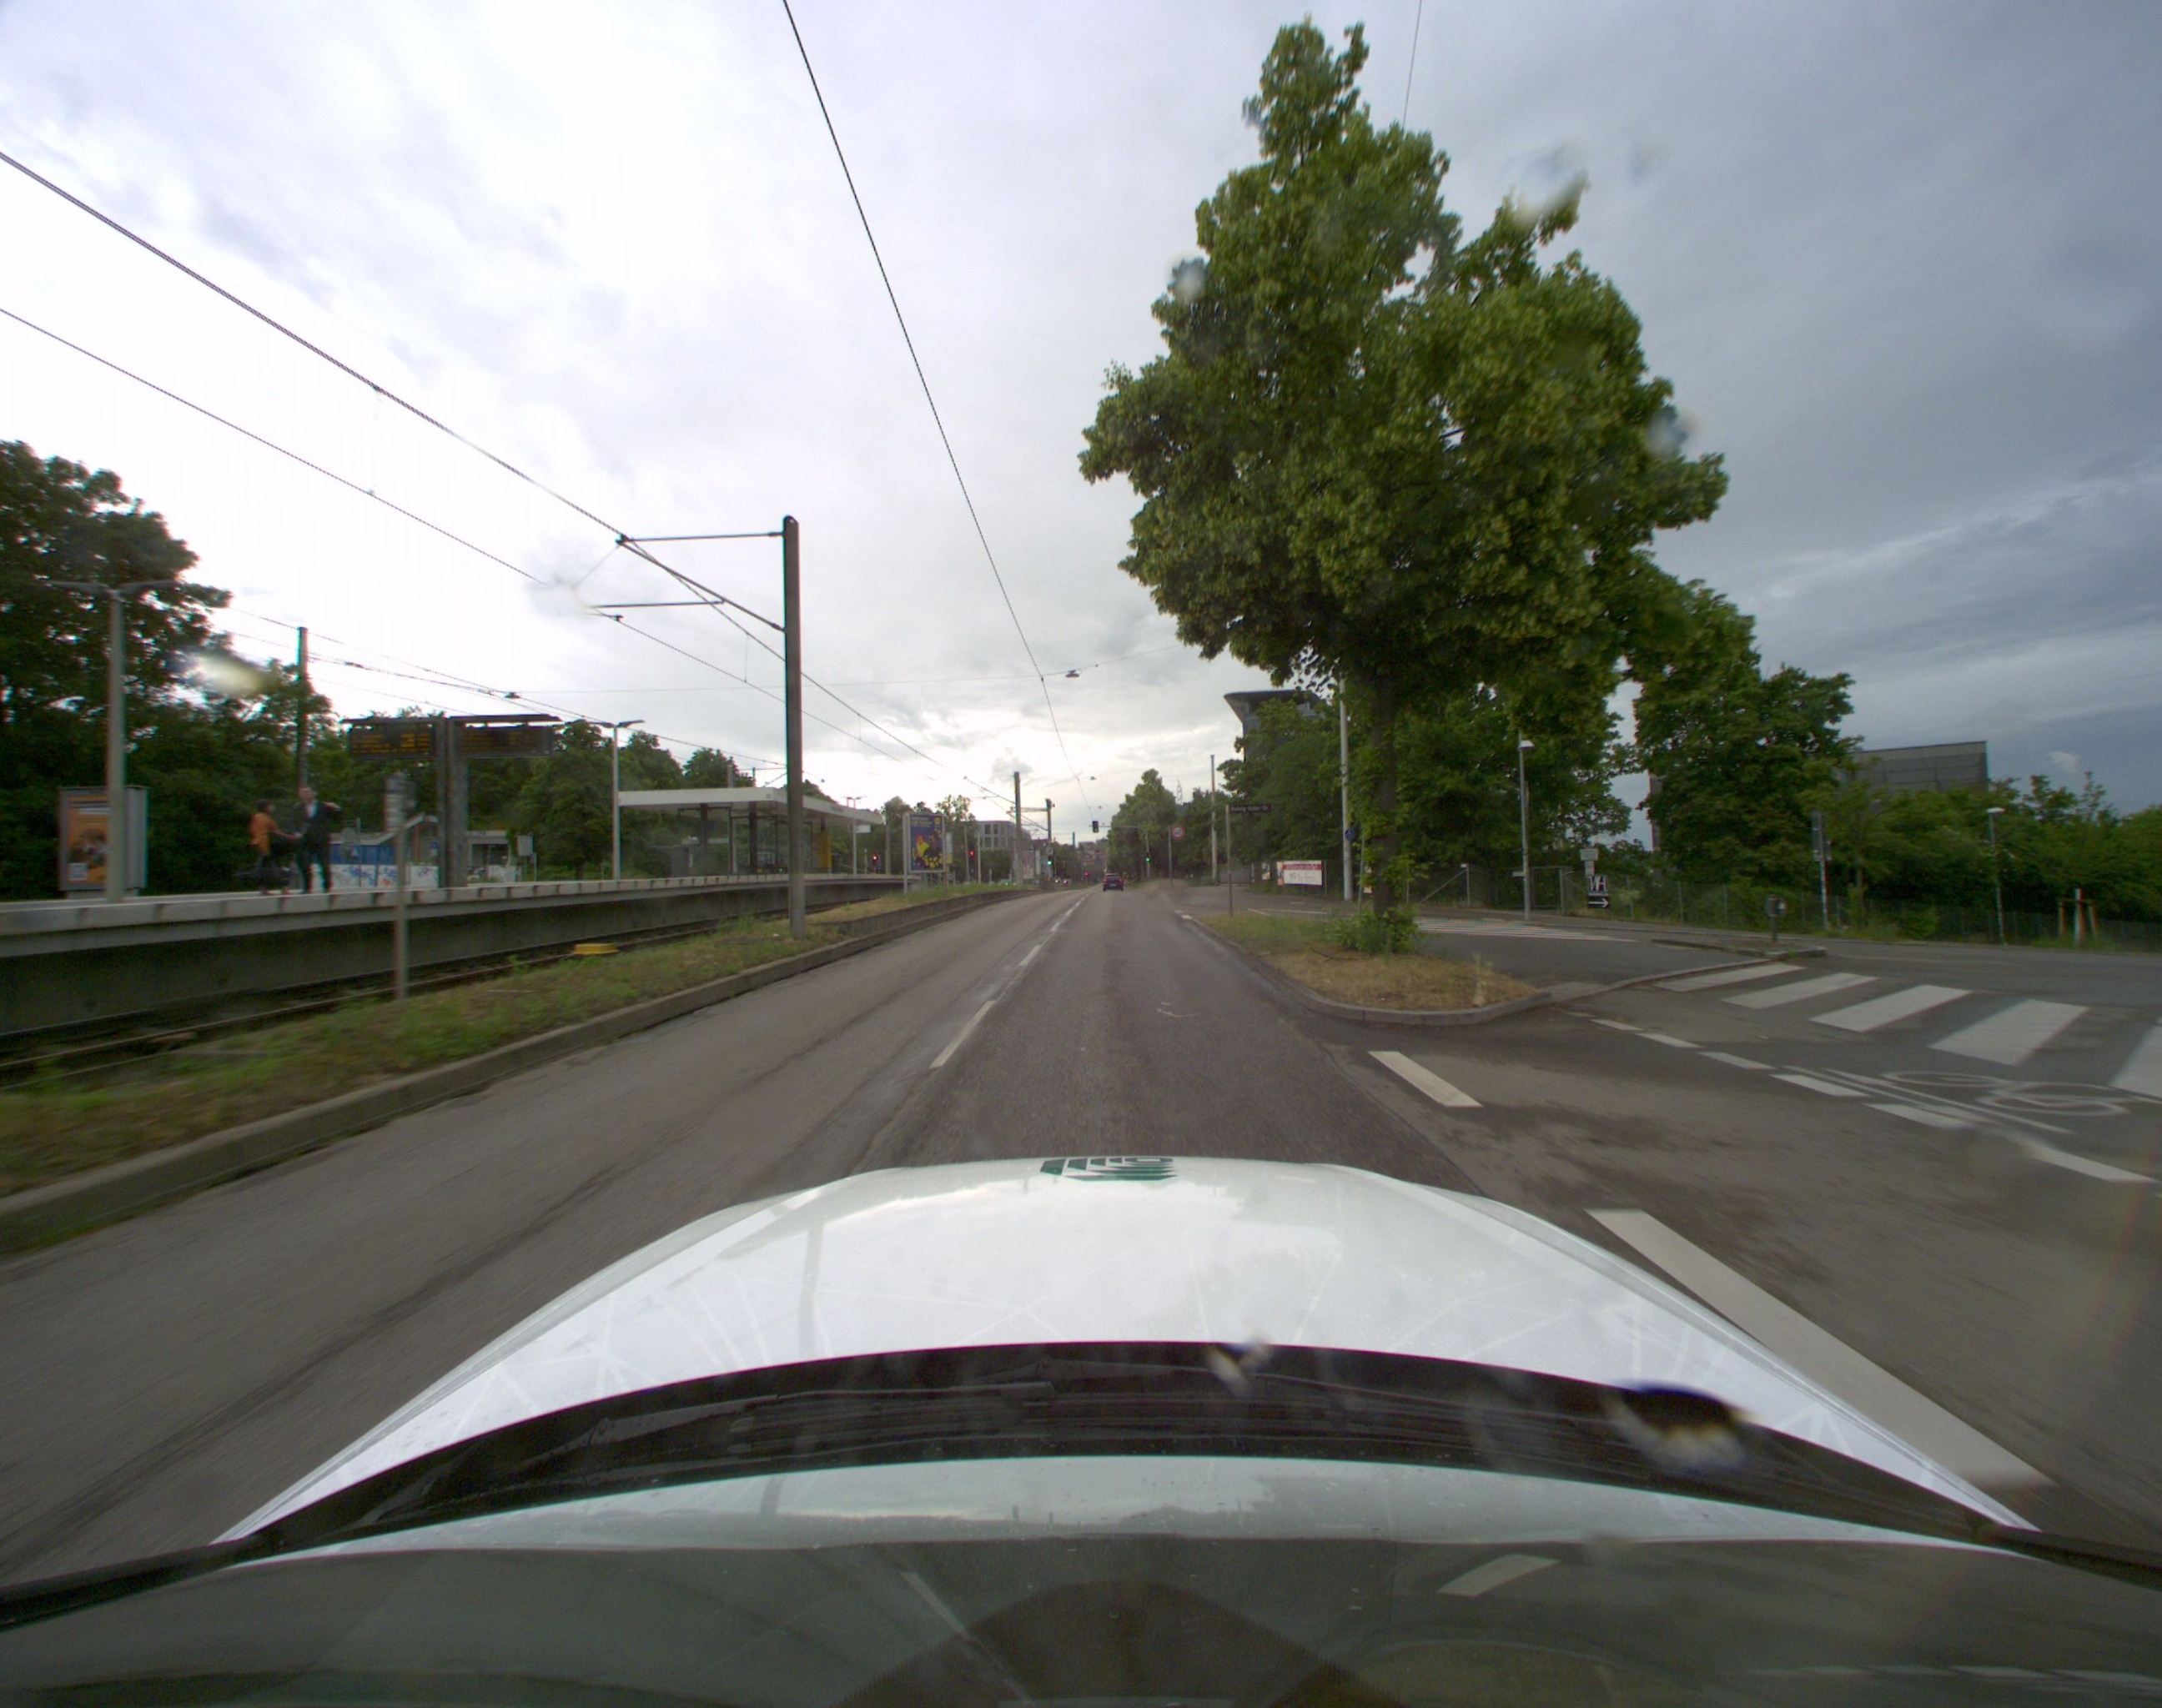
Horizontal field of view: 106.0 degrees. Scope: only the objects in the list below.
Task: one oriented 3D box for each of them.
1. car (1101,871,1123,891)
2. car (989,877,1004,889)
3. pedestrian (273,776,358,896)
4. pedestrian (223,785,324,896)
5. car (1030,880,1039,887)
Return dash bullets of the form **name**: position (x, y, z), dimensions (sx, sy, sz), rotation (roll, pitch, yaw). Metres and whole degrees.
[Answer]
- **car**: position (2.574, 2.214, 67.115), dimensions (1.720, 1.541, 4.001), rotation (-1, -2, 2)
- **car**: position (-13.526, 4.657, 130.772), dimensions (1.658, 1.632, 3.309), rotation (1, 0, 7)
- **pedestrian**: position (-12.680, -0.294, 13.528), dimensions (0.745, 1.909, 0.836), rotation (0, 1, -20)
- **pedestrian**: position (-12.476, -0.210, 12.617), dimensions (0.797, 1.647, 0.913), rotation (0, 1, -20)
- **car**: position (-12.729, 8.183, 223.924), dimensions (1.840, 1.632, 3.616), rotation (1, 0, 7)
